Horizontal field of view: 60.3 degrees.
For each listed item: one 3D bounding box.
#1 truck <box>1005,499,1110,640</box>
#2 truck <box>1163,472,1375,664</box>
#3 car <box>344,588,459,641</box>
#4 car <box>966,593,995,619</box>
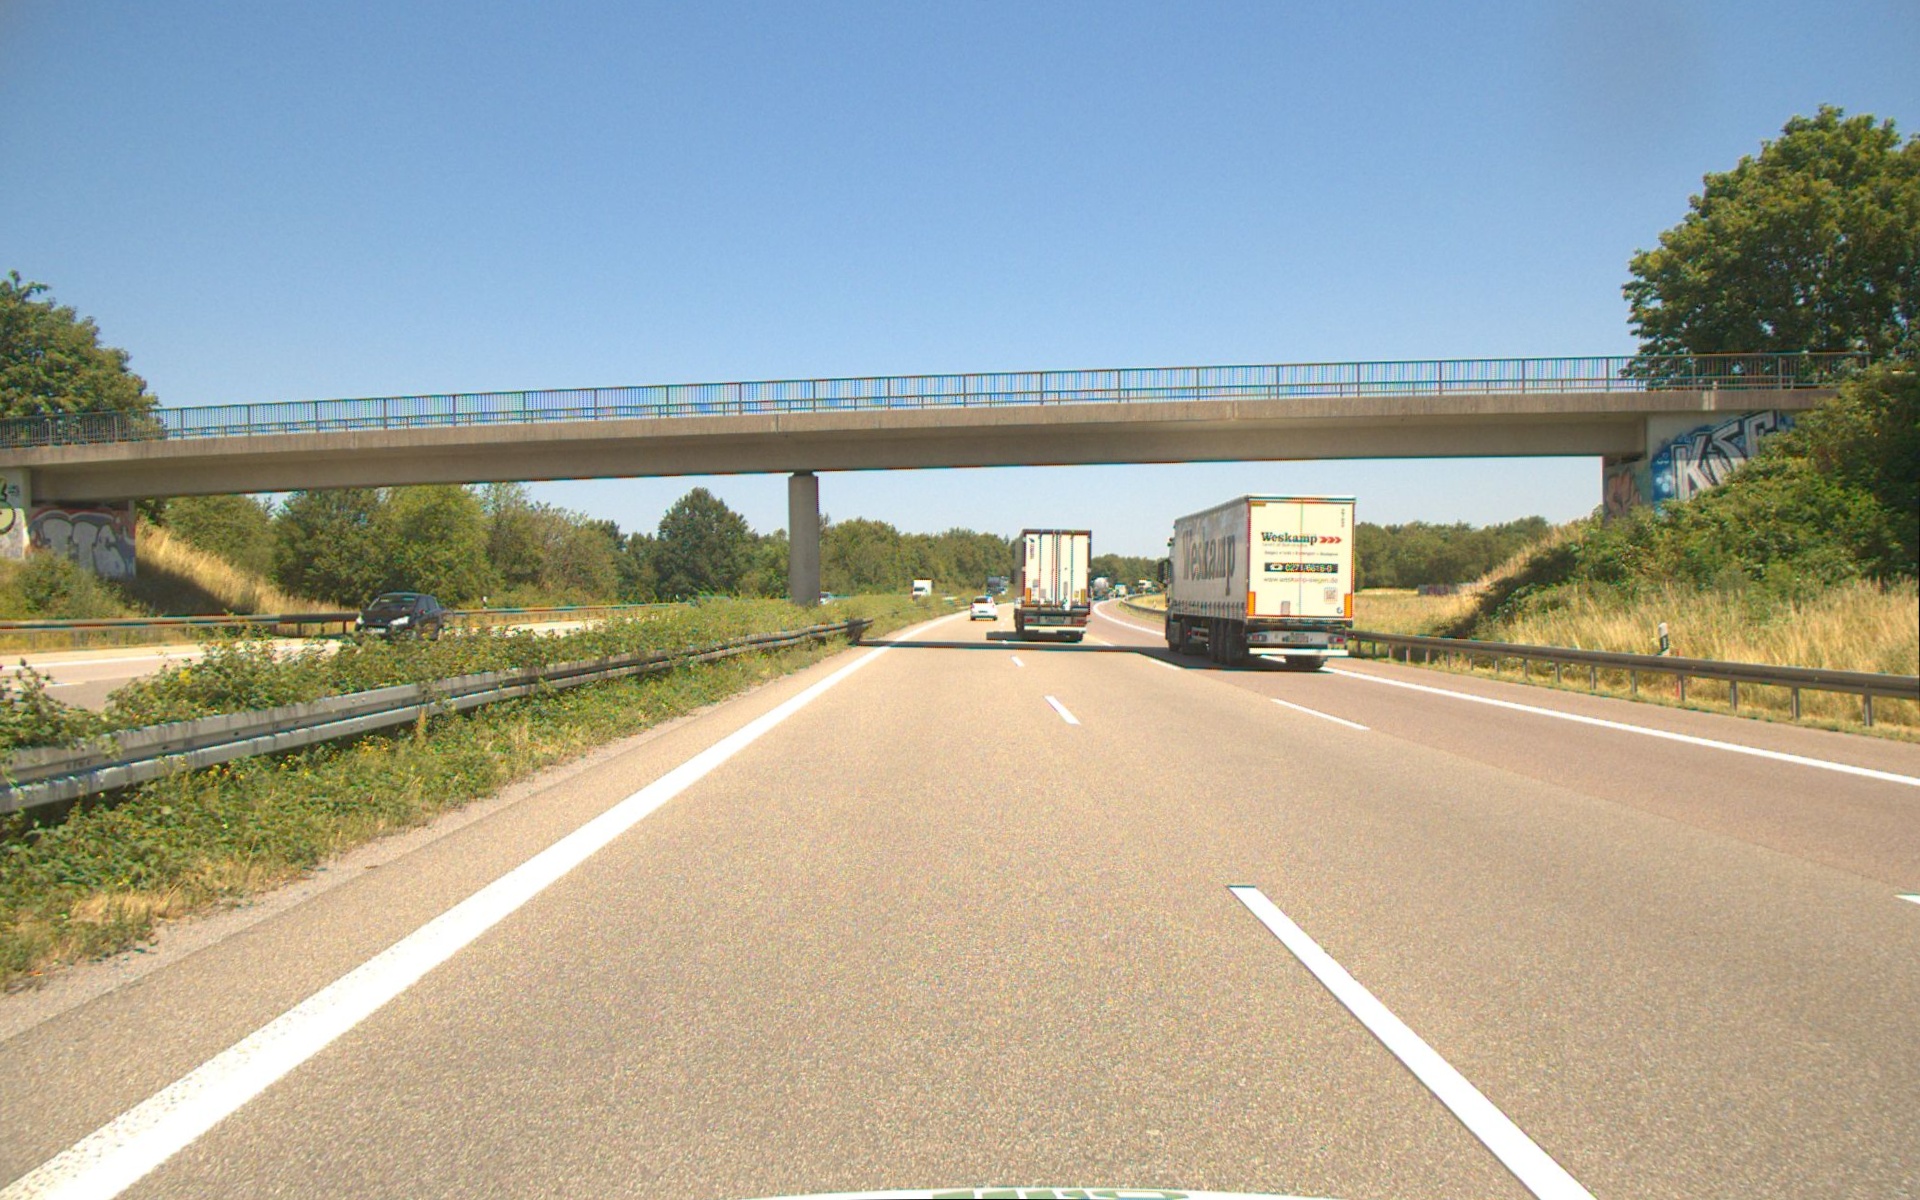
[{"bbox_3d":[3.760,-1.186,68.195,3.591,5.106,16.020,1,1,1],"label":"truck"},{"bbox_3d":[8.076,-0.814,45.952,3.115,4.379,16.020,1,1,1],"label":"truck"},{"bbox_3d":[-16.694,0.411,49.664,1.790,1.487,4.320,1,0,3],"label":"car"},{"bbox_3d":[1.357,0.385,108.190,1.790,1.574,4.320,1,0,2],"label":"car"}]
